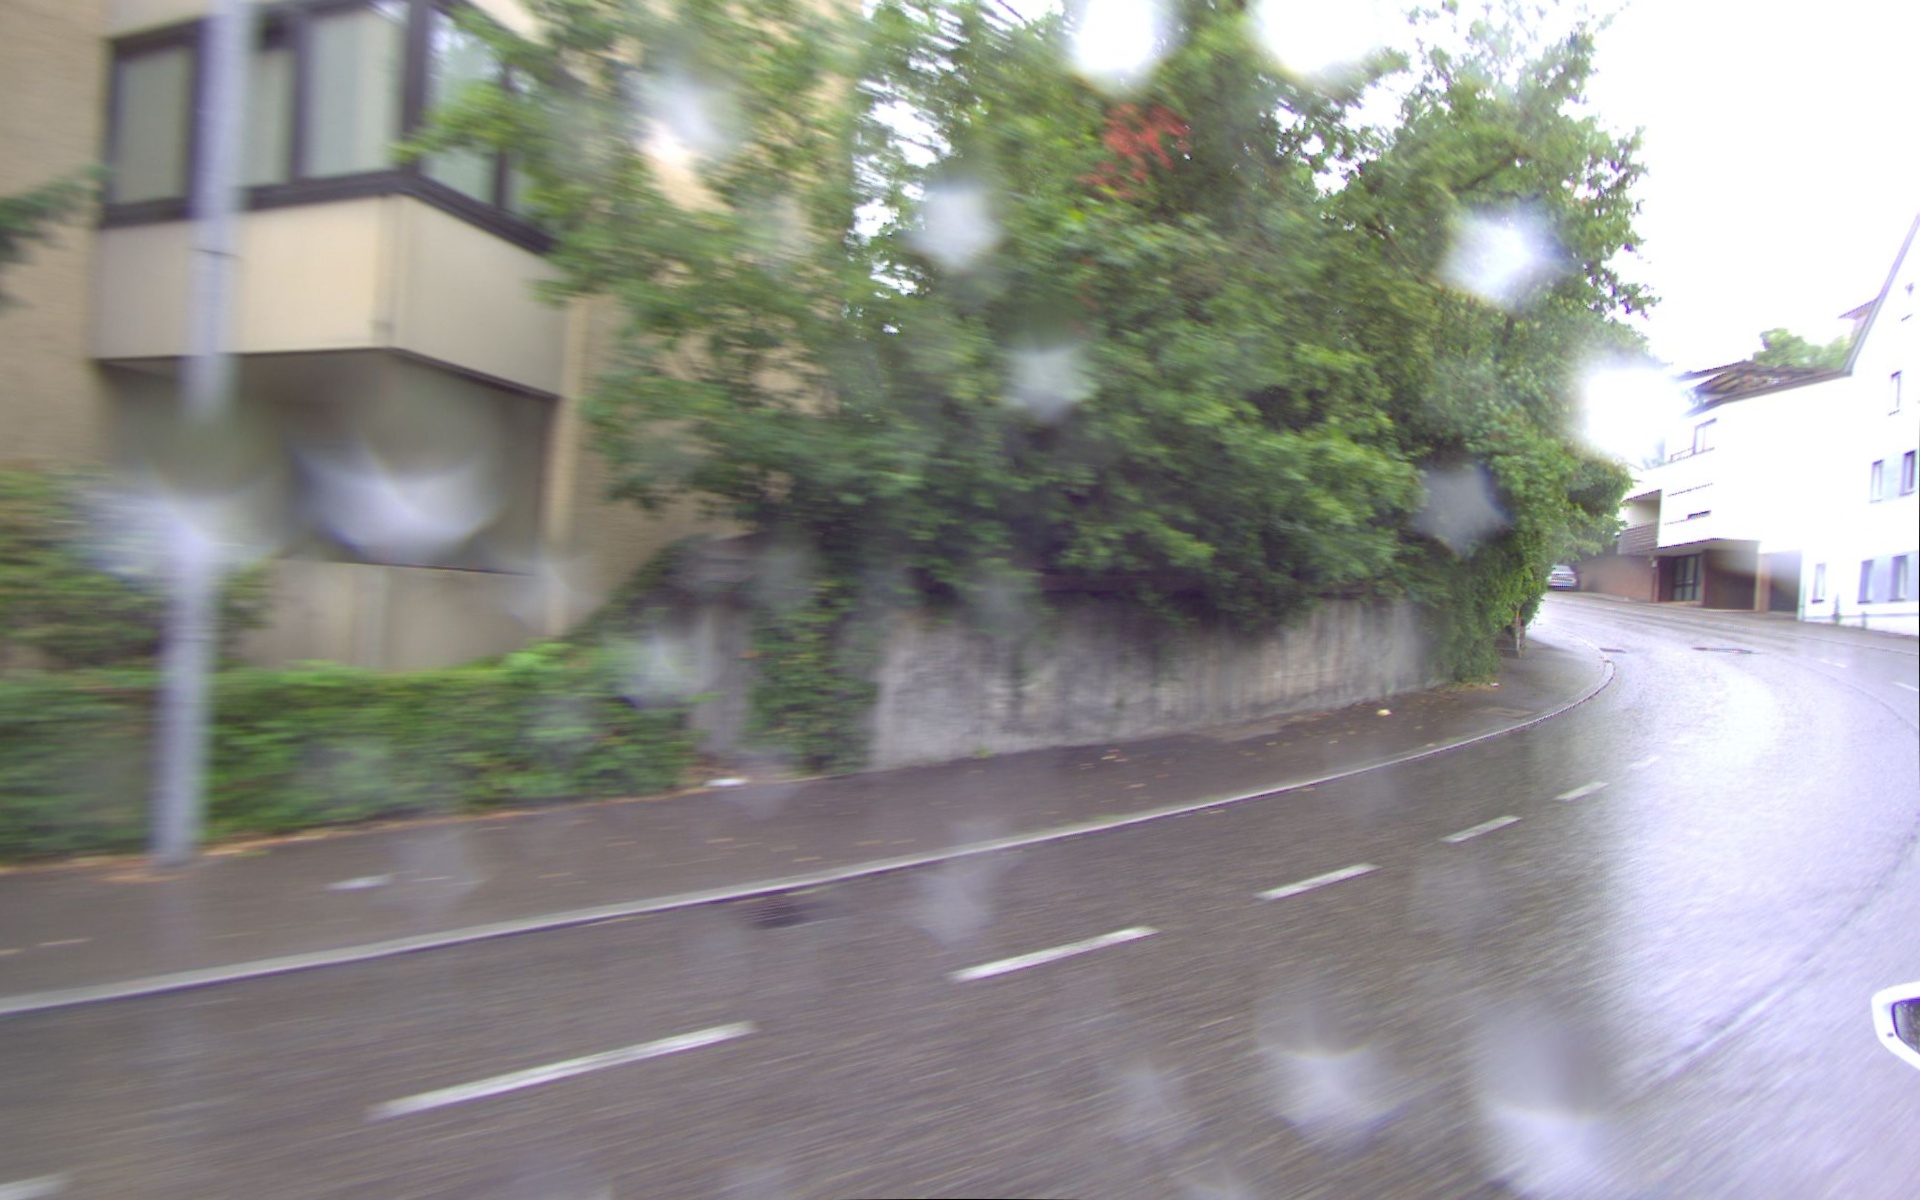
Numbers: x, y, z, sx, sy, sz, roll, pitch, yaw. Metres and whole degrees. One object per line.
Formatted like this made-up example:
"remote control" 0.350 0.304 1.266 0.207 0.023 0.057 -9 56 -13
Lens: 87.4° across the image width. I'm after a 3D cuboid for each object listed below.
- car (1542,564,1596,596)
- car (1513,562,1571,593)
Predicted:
"car" 34.608 -1.123 57.031 1.762 1.600 4.044 9 7 41
"car" 34.748 -1.346 59.970 4.037 1.600 1.765 0 7 -43
